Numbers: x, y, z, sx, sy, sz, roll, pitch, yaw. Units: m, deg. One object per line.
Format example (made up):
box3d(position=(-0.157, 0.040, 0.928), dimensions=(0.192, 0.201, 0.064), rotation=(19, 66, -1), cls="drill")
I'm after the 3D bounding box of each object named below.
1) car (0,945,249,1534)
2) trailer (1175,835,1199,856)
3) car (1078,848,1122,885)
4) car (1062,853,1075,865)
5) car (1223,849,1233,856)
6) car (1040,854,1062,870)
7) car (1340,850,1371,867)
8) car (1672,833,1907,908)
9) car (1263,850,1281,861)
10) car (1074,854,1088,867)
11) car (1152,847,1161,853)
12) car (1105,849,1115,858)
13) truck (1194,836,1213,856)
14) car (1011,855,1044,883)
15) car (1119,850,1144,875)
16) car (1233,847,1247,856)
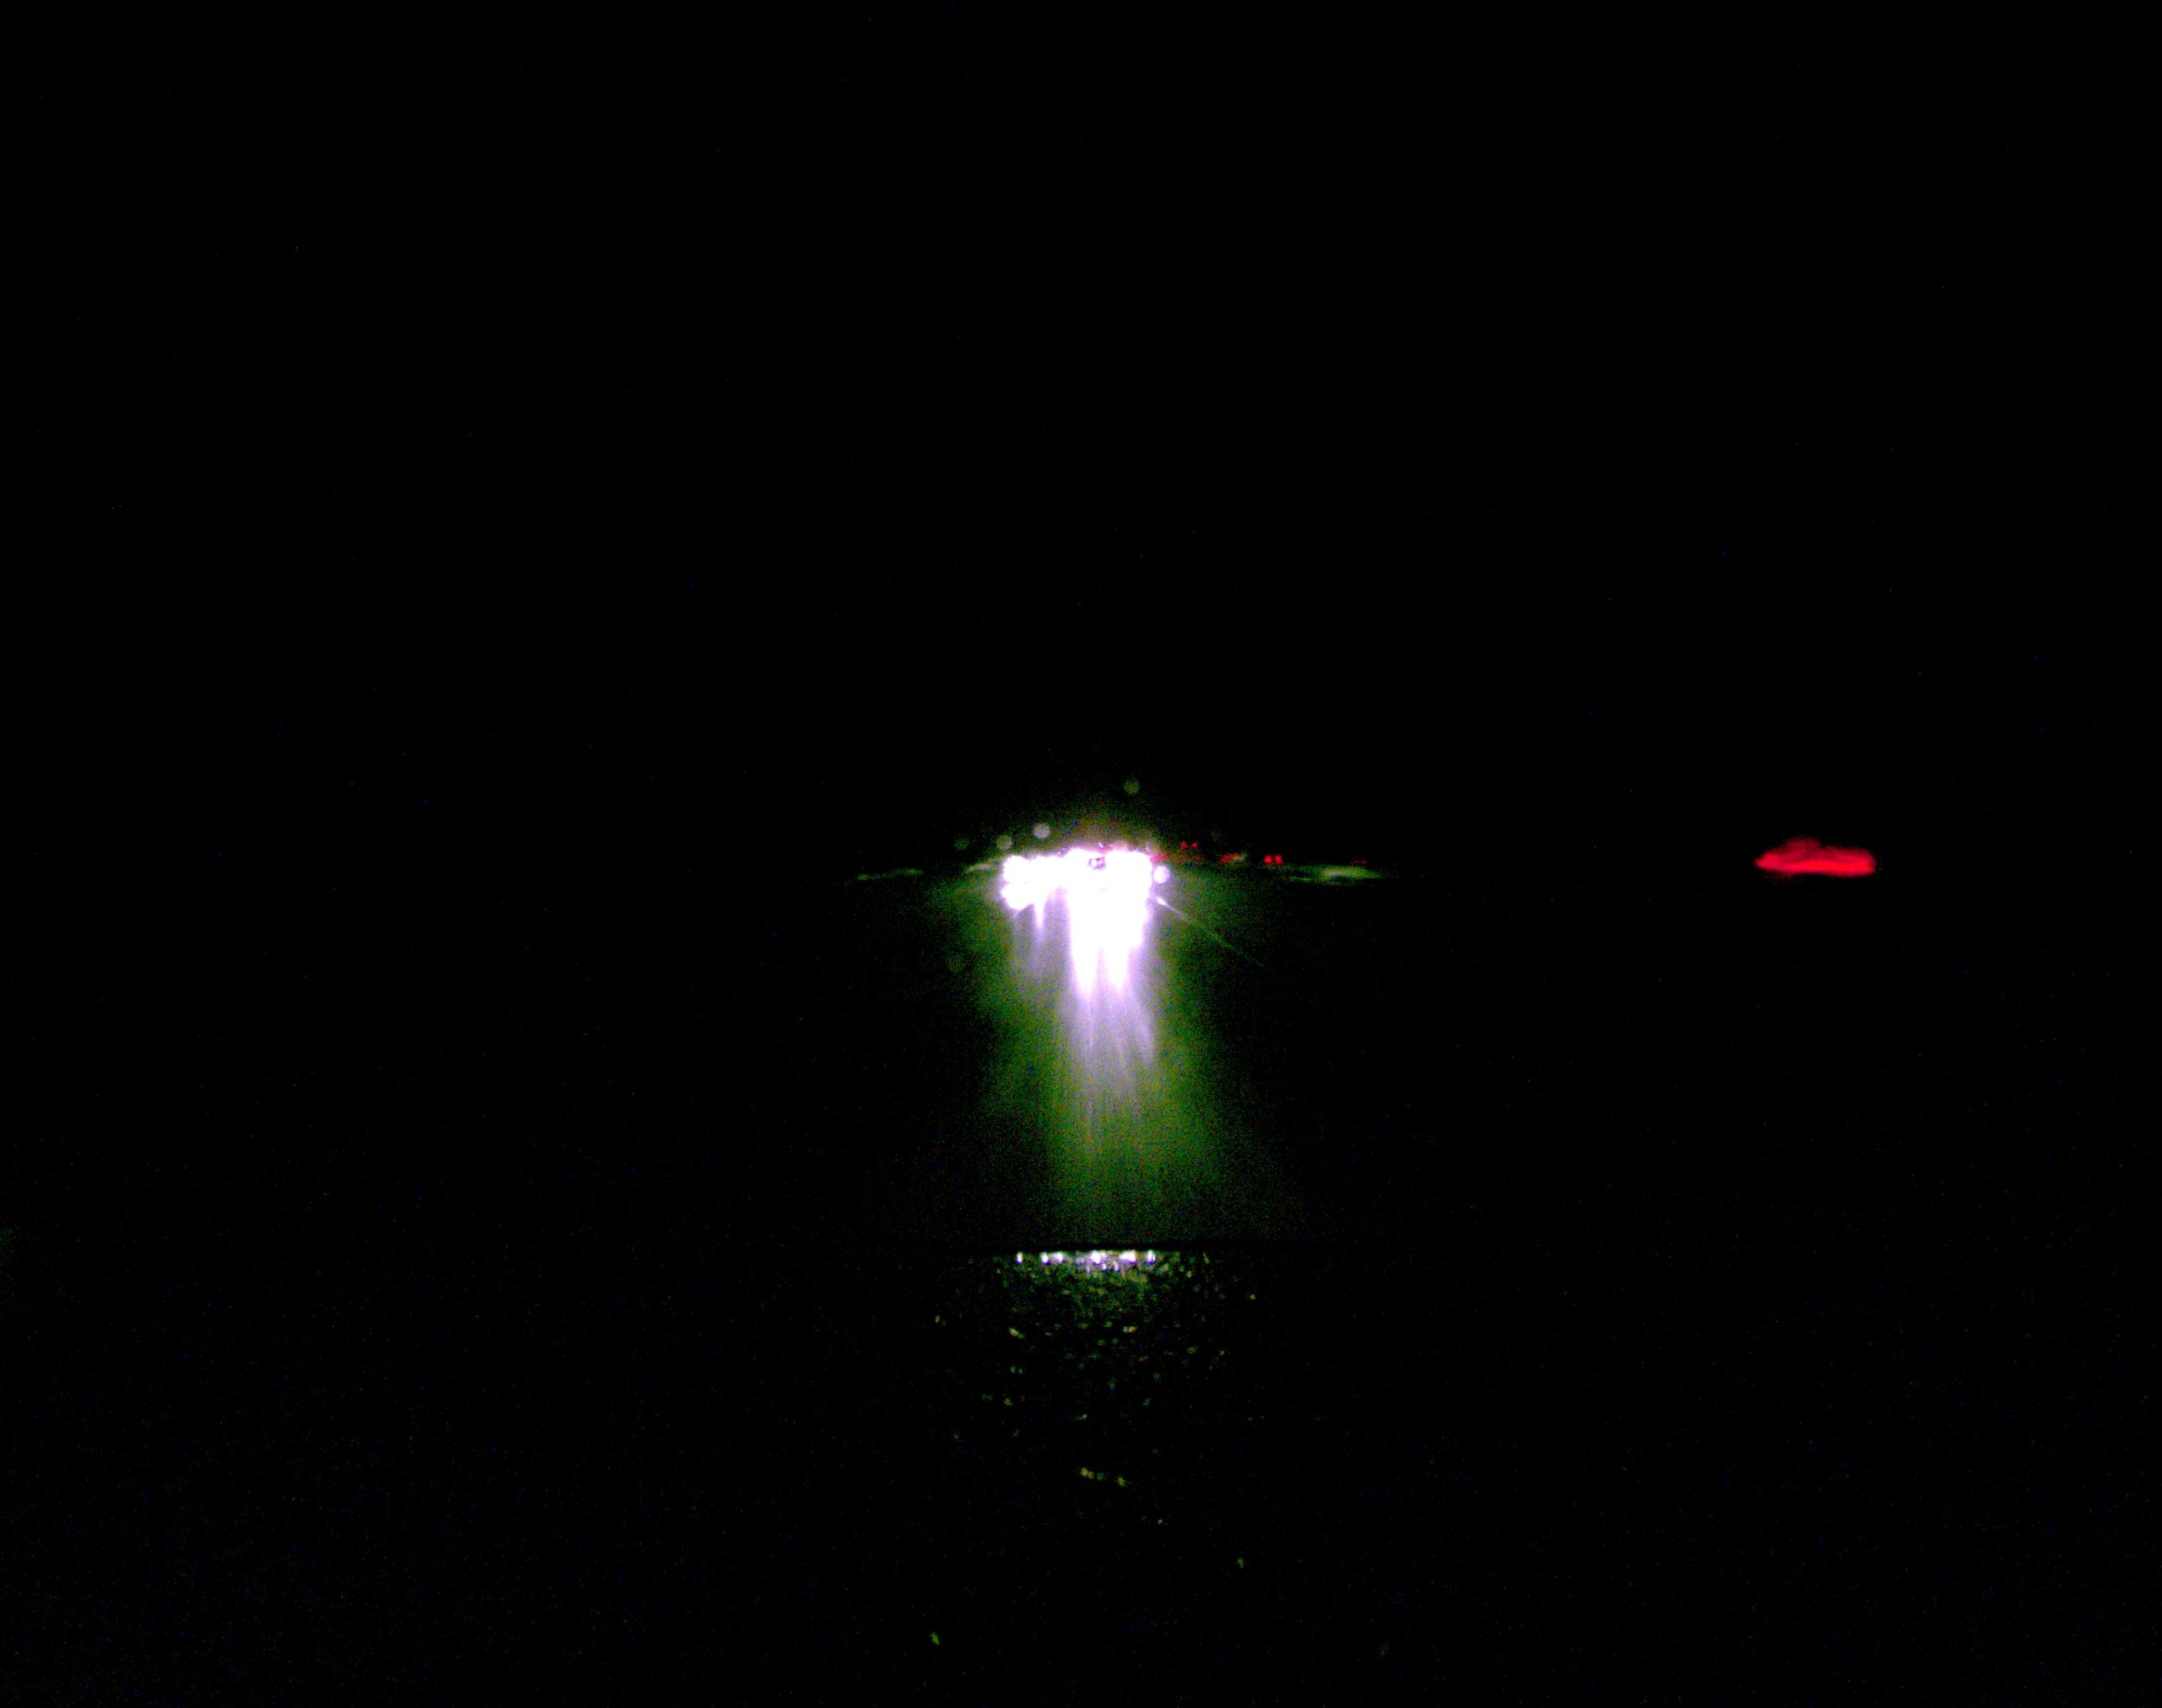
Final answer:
box3d(position=(-3.698, 1.064, 0.430), dimensions=(1.774, 1.449, 4.195), rotation=(-2, 0, 0), cls="car")
box3d(position=(26.400, -2.171, 189.698), dimensions=(3.798, 4.999, 14.799), rotation=(-2, 1, 1), cls="trailer")
box3d(position=(0.899, 0.585, 37.739), dimensions=(1.960, 1.655, 4.915), rotation=(-2, 0, 1), cls="car")
box3d(position=(-2.044, 0.816, 129.055), dimensions=(1.998, 1.852, 3.999), rotation=(-2, 1, 1), cls="car")
box3d(position=(32.835, -0.409, 169.841), dimensions=(1.661, 1.504, 3.999), rotation=(-2, 1, 1), cls="car")
box3d(position=(-3.385, 0.879, 85.689), dimensions=(1.998, 1.590, 4.653), rotation=(-2, 1, 3), cls="car")
box3d(position=(28.677, 0.425, 79.454), dimensions=(1.766, 1.679, 3.999), rotation=(-2, 1, 1), cls="car")
box3d(position=(20.676, 0.395, 22.604), dimensions=(2.079, 1.879, 5.268), rotation=(-2, 1, 1), cls="car")
box3d(position=(29.241, 0.185, 116.554), dimensions=(1.805, 1.564, 3.999), rotation=(-2, 1, 1), cls="car")
box3d(position=(0.021, 0.885, 99.388), dimensions=(1.755, 1.563, 3.999), rotation=(-2, 1, 1), cls="car")
box3d(position=(18.544, -0.951, 186.509), dimensions=(1.661, 1.504, 3.945), rotation=(-2, 1, 1), cls="car")
box3d(position=(5.852, -0.055, 152.838), dimensions=(1.800, 1.728, 3.999), rotation=(-2, 1, 1), cls="car")
box3d(position=(35.352, -2.284, 220.077), dimensions=(3.247, 5.560, 12.794), rotation=(-2, 1, 1), cls="truck")
box3d(position=(-3.516, 0.954, 50.826), dimensions=(1.792, 1.681, 3.999), rotation=(-2, 1, 1), cls="car")
box3d(position=(3.787, 0.618, 57.242), dimensions=(1.611, 1.775, 3.910), rotation=(-2, 1, 1), cls="car")
box3d(position=(29.344, -0.427, 140.289), dimensions=(1.661, 1.504, 3.999), rotation=(-2, 1, 1), cls="car")
